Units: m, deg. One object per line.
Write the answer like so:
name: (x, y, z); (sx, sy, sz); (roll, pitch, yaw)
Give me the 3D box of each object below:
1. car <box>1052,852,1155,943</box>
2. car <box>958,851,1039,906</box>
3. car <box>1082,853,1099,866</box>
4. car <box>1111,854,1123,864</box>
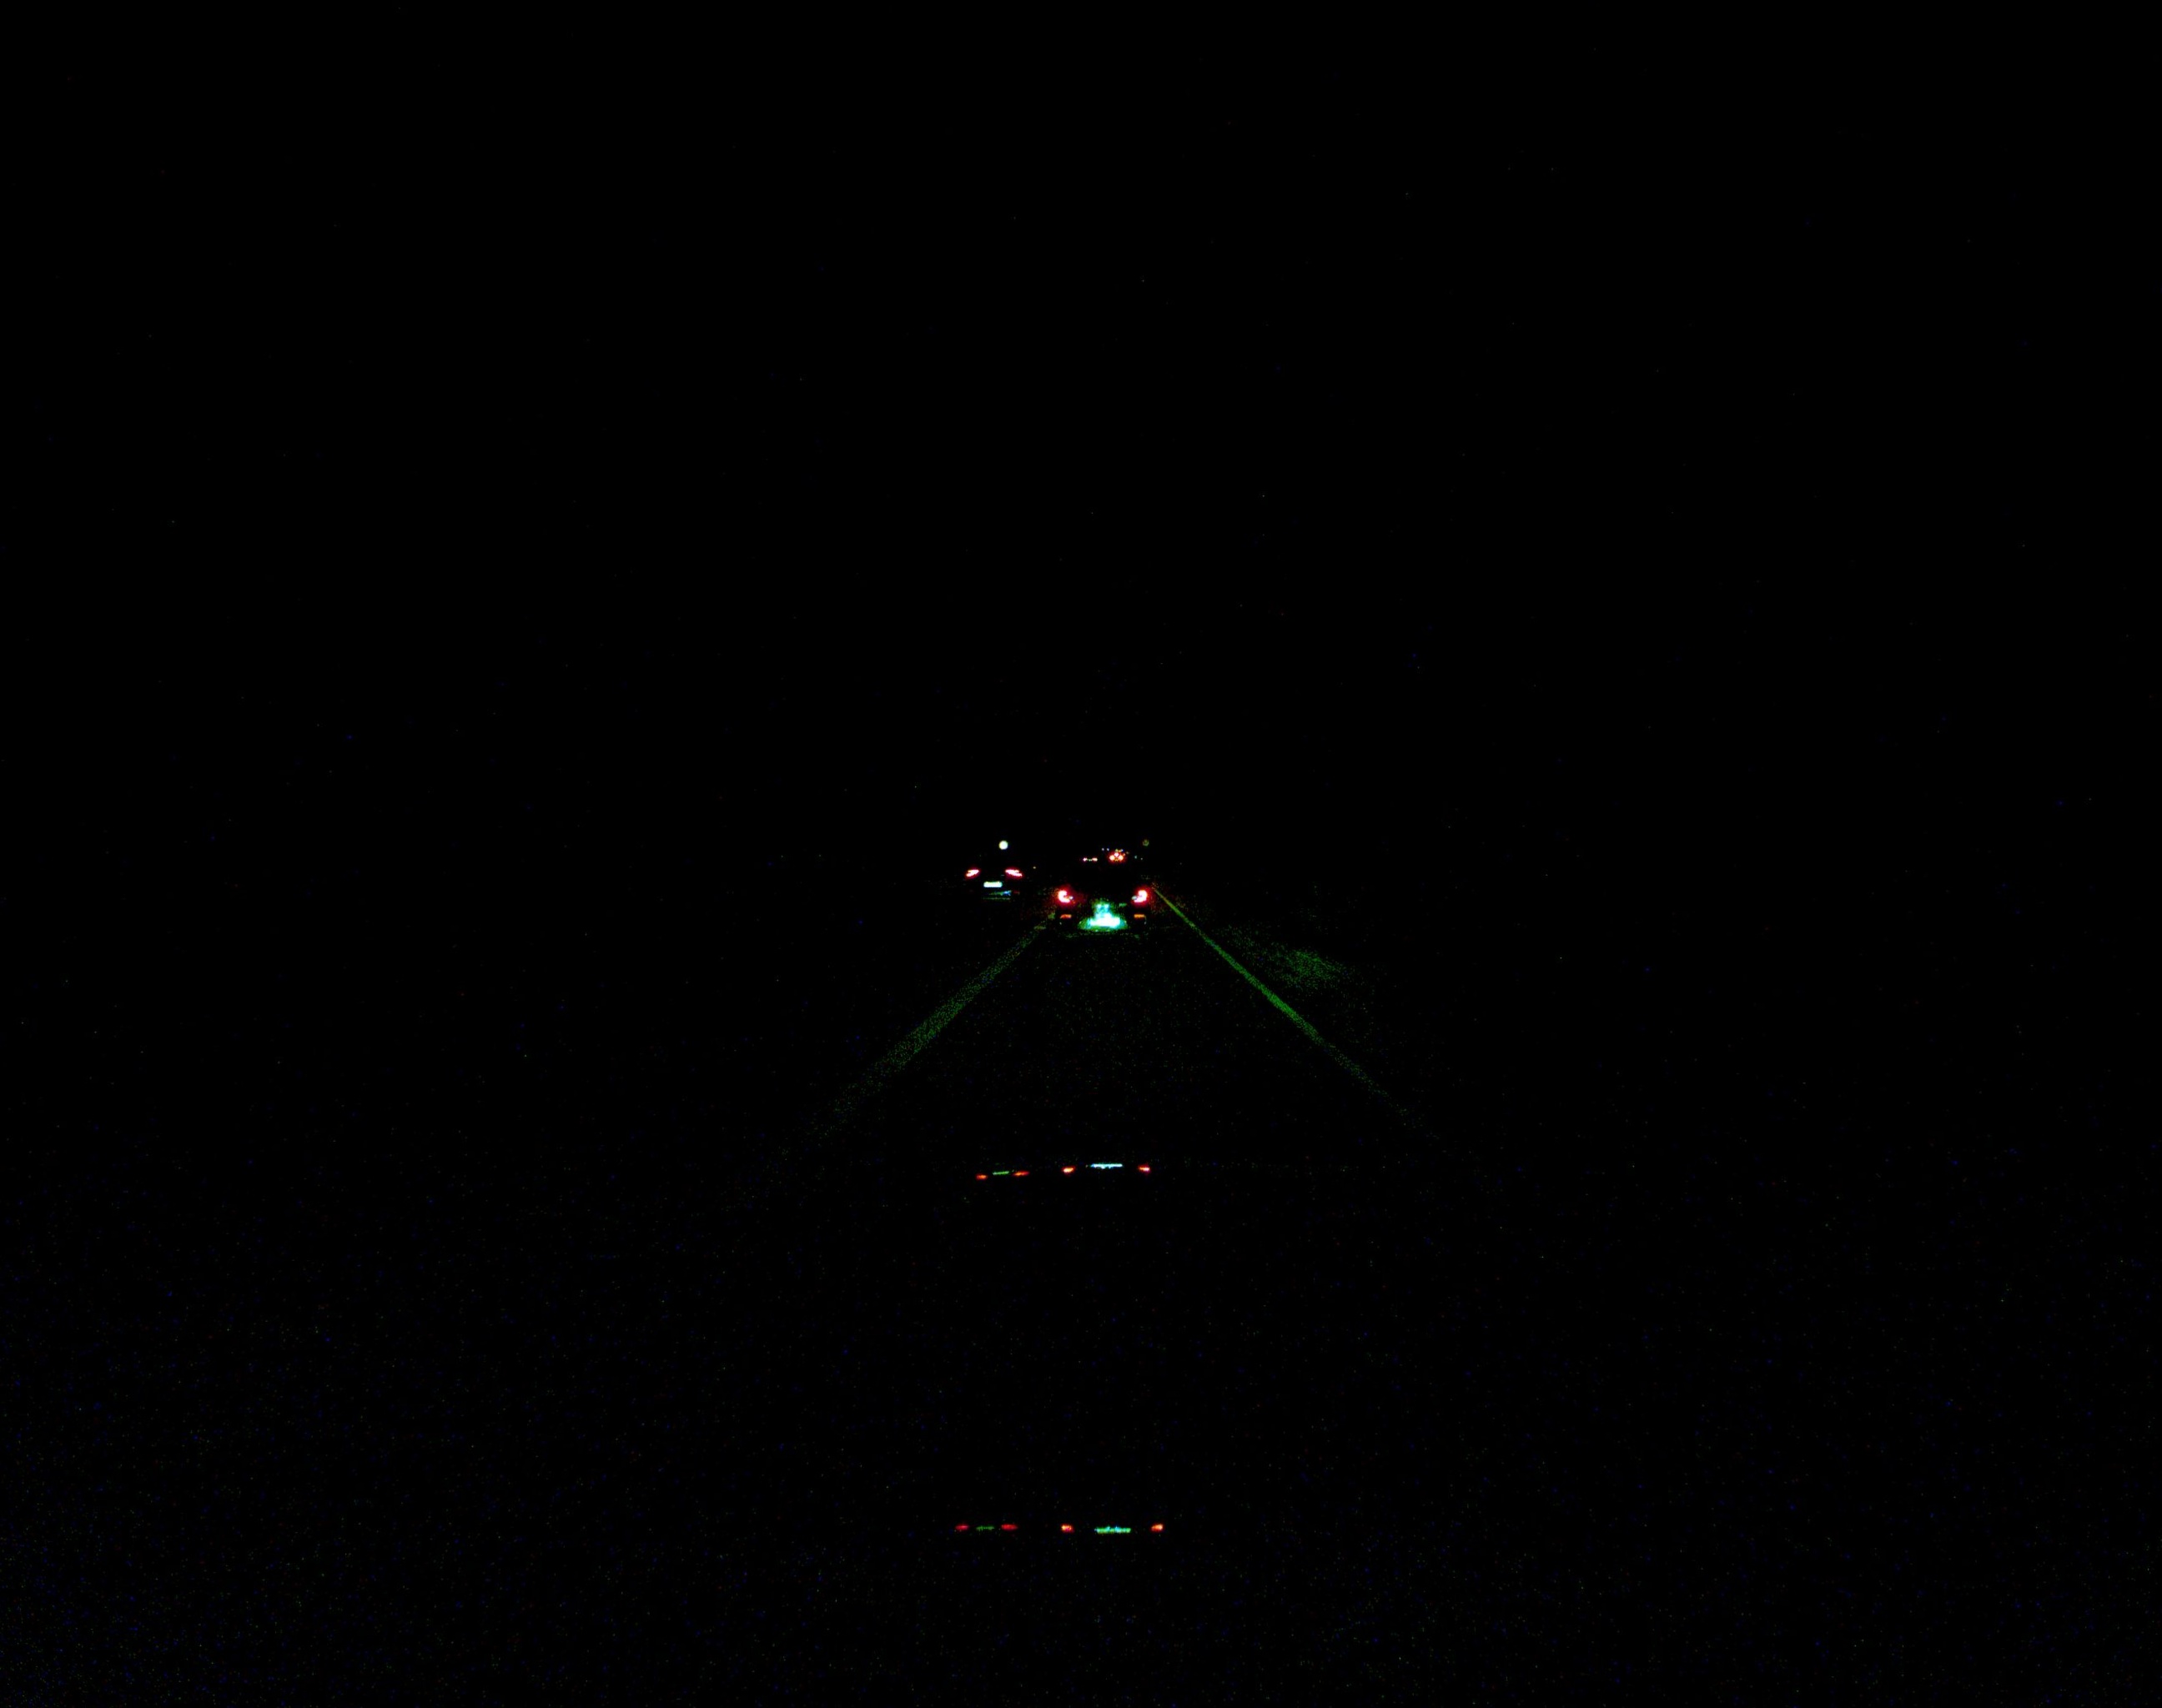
car: (0.322, 0.718, 15.283); (1.687, 1.478, 3.997); (0, 0, -2)
car: (-2.527, 0.712, 26.037); (1.932, 1.608, 4.646); (0, 0, 2)
car: (1.224, 0.747, 106.105); (1.944, 1.538, 4.242); (-5, -2, 2)
car: (5.835, 0.846, 132.421); (1.727, 1.618, 3.799); (-1, 0, 1)
